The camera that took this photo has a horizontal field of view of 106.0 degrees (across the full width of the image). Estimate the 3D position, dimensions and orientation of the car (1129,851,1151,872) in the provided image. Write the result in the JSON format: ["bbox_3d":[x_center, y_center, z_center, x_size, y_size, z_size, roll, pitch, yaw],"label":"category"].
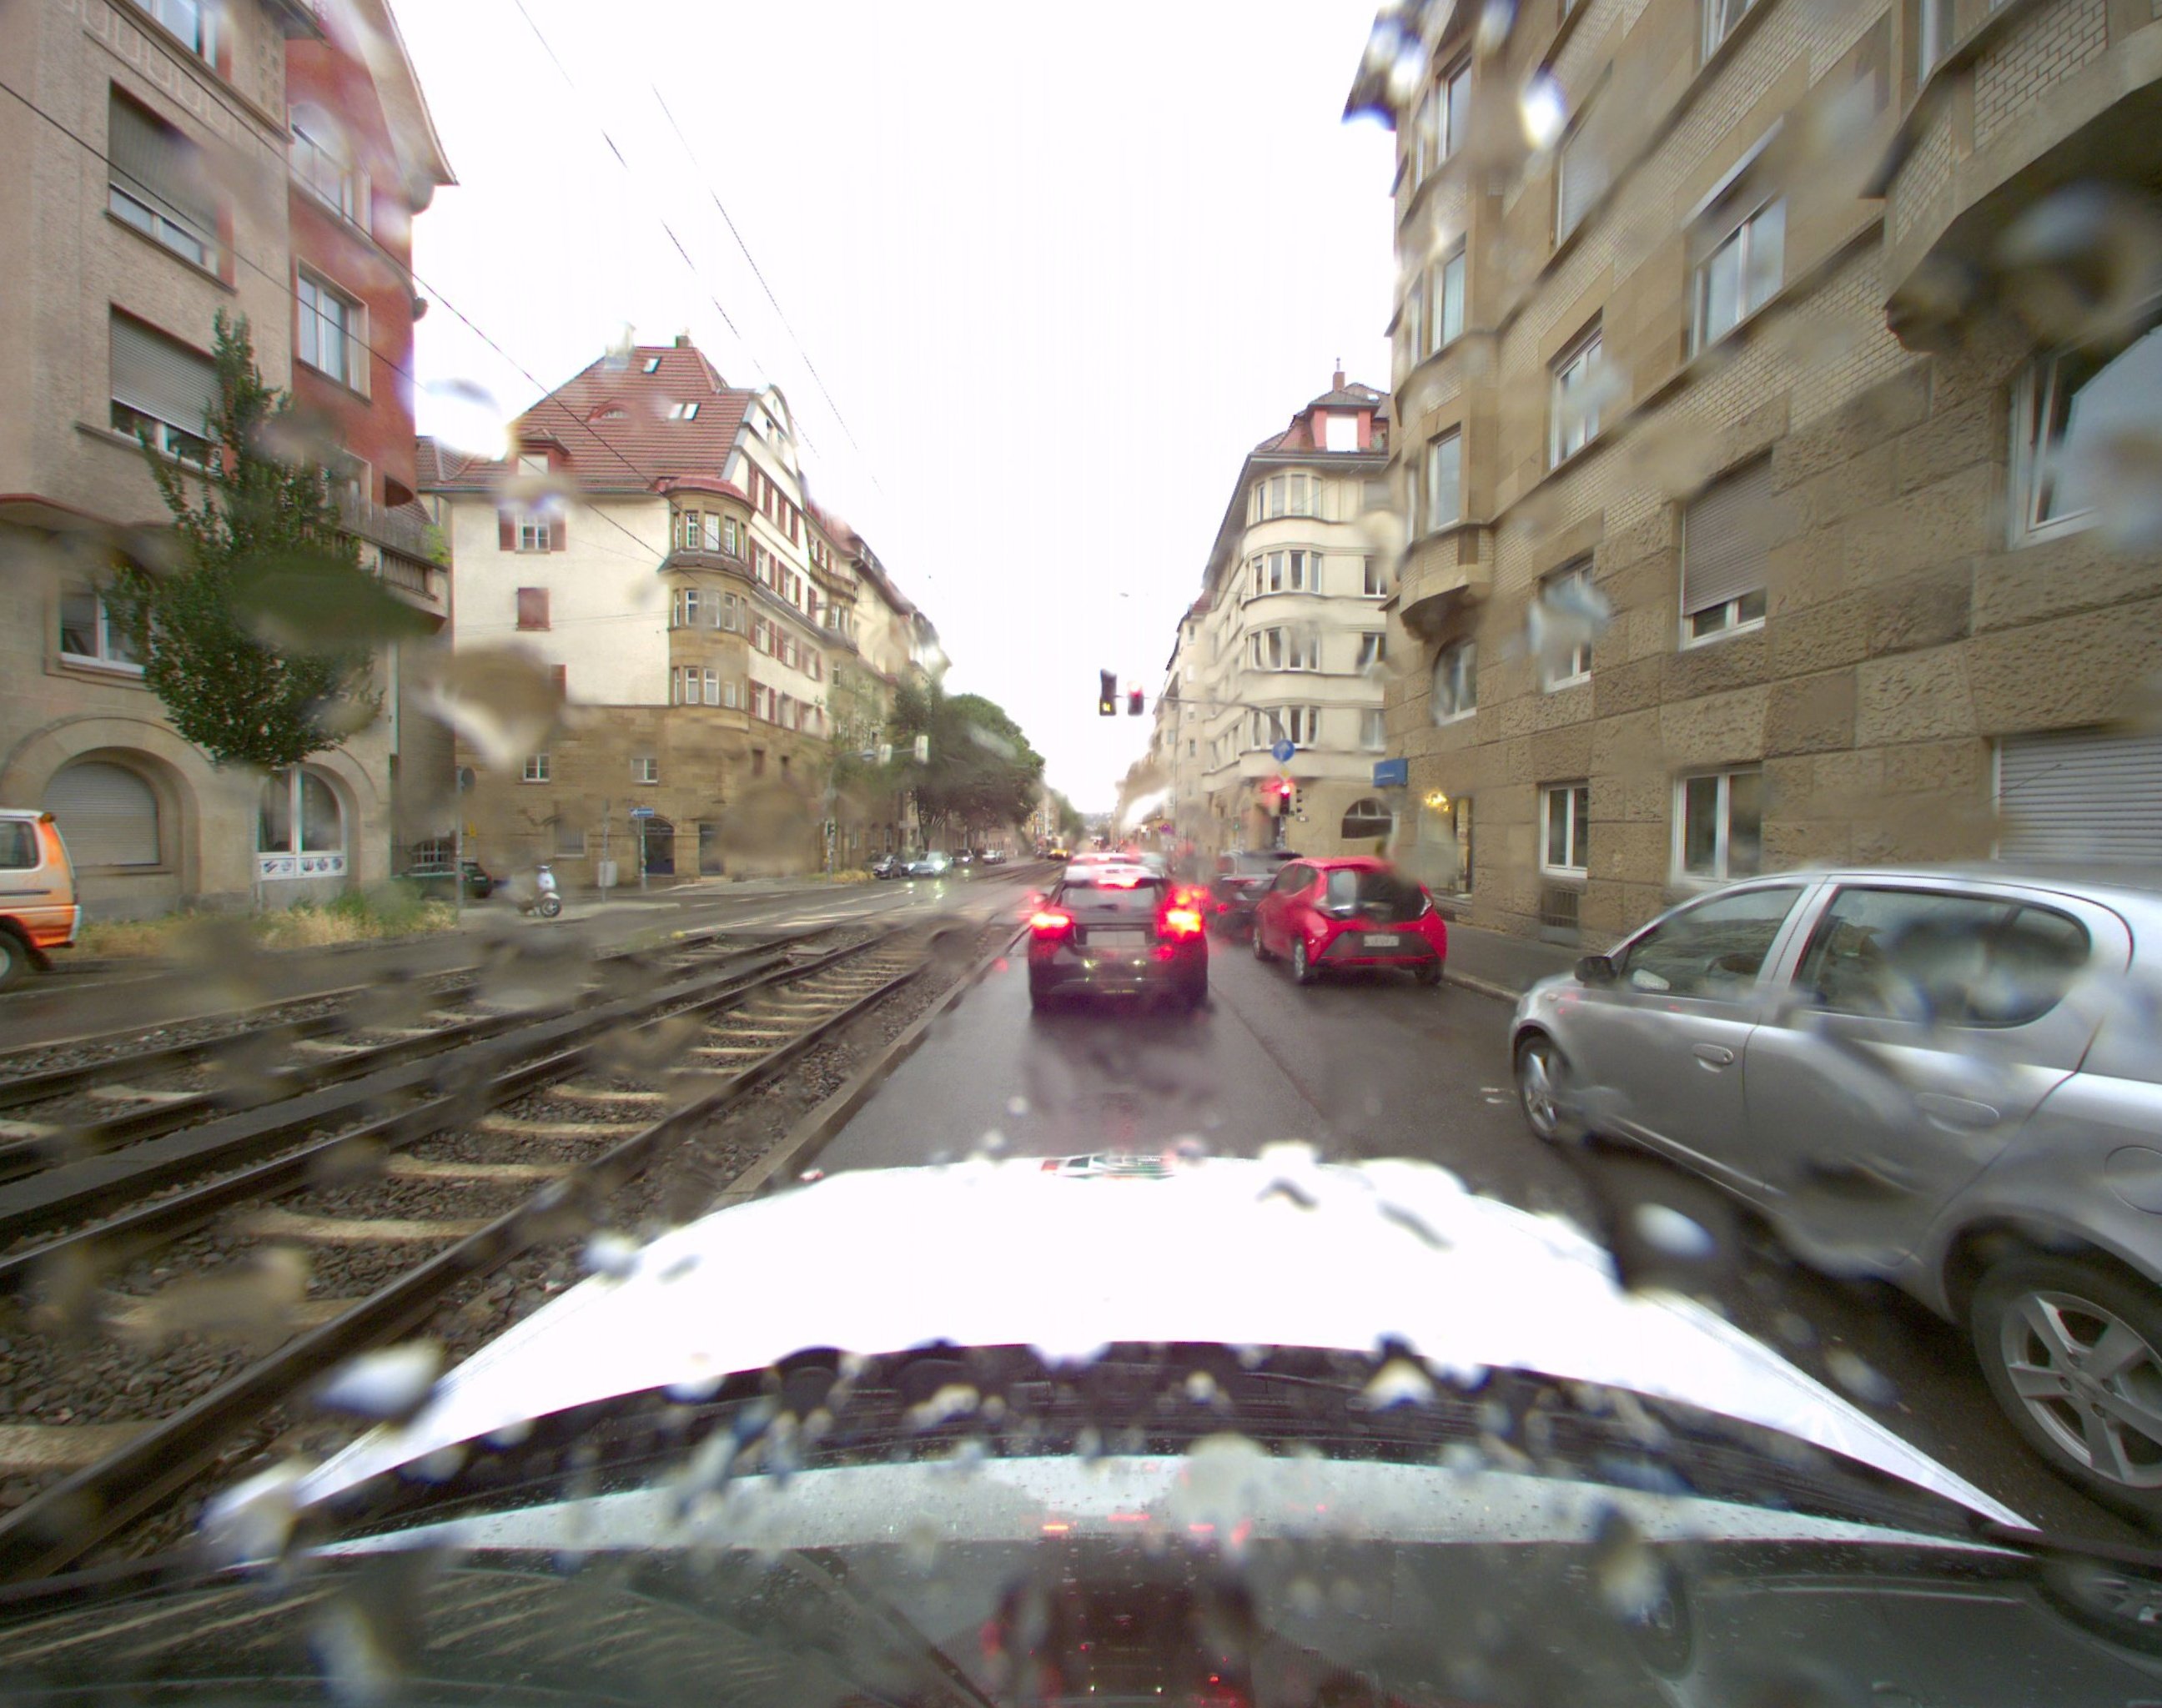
[{"bbox_3d":[4.420,0.542,61.582,1.539,1.486,3.549,0,0,2],"label":"car"}]

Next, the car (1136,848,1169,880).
[{"bbox_3d":[3.704,0.492,42.700,1.539,1.590,3.549,0,0,2],"label":"car"}]

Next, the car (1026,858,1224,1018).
[{"bbox_3d":[0.465,0.782,9.563,1.822,1.458,4.105,0,0,2],"label":"car"}]

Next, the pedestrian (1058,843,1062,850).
[{"bbox_3d":[-5.701,-2.069,223.949,1.049,1.957,1.043,1,0,3],"label":"pedestrian"}]

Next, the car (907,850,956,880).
[{"bbox_3d":[-8.267,0.582,45.431,1.891,1.588,3.974,0,-1,2],"label":"car"}]

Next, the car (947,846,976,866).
[{"bbox_3d":[-10.590,0.220,72.140,1.868,1.737,3.920,0,-1,2],"label":"car"}]

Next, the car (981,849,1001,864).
[{"bbox_3d":[-9.859,0.316,89.598,1.583,1.581,3.920,0,-1,2],"label":"car"}]

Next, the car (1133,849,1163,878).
[{"bbox_3d":[3.845,0.536,47.175,1.539,1.590,3.549,0,0,2],"label":"car"}]

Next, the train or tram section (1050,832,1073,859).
[{"bbox_3d":[-2.866,-1.139,123.134,2.772,3.861,10.433,0,-1,2],"label":"train or tram section"}]

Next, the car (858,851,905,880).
[{"bbox_3d":[-11.252,0.639,46.118,1.747,1.552,4.033,0,-1,-2],"label":"car"}]

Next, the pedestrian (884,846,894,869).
[{"bbox_3d":[-14.044,0.243,59.677,0.630,1.672,0.701,0,-1,-5],"label":"pedestrian"}]

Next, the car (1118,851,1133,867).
[{"bbox_3d":[4.032,0.419,73.673,1.289,1.442,2.930,0,0,2],"label":"car"}]

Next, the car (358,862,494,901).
[{"bbox_3d":[-24.383,0.998,30.411,3.633,1.404,1.699,0,-1,-3],"label":"car"}]

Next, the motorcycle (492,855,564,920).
[{"bbox_3d":[-12.067,0.705,17.767,1.577,1.365,0.628,-1,-1,28],"label":"motorcycle"}]

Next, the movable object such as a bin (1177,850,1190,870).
[{"bbox_3d":[7.479,0.438,59.555,0.873,1.389,0.984,0,-1,5],"label":"movable object such as a bin"}]

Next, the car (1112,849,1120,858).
[{"bbox_3d":[6.315,-0.146,146.839,1.538,1.636,3.689,0,0,3],"label":"car"}]

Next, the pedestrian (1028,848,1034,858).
[{"bbox_3d":[-10.662,-0.192,174.565,1.049,1.957,1.043,1,0,3],"label":"pedestrian"}]

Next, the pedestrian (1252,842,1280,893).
[{"bbox_3d":[6.420,0.463,28.290,0.739,1.748,1.111,0,-1,2],"label":"pedestrian"}]

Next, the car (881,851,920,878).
[{"bbox_3d":[-11.283,0.646,51.153,1.713,1.611,3.914,0,-1,-3],"label":"car"}]

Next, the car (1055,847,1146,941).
[{"bbox_3d":[0.392,0.702,15.959,1.559,1.609,3.815,0,-1,2],"label":"car"}]

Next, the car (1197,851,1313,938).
[{"bbox_3d":[3.243,0.693,15.809,1.539,1.486,3.831,0,0,2],"label":"car"}]

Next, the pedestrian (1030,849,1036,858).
[{"bbox_3d":[-10.344,-0.181,176.013,1.049,1.957,1.043,1,0,3],"label":"pedestrian"}]

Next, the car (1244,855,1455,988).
[{"bbox_3d":[3.276,0.737,10.564,1.637,1.448,3.298,0,0,-1],"label":"car"}]

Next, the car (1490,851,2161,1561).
[{"bbox_3d":[3.145,0.743,3.099,1.608,1.467,3.314,-2,0,3],"label":"car"}]

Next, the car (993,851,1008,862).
[{"bbox_3d":[-9.788,0.305,99.014,1.443,1.331,3.271,0,-1,0],"label":"car"}]

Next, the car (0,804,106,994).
[{"bbox_3d":[-12.123,0.460,7.211,1.725,1.975,4.341,0,-1,0],"label":"car"}]
